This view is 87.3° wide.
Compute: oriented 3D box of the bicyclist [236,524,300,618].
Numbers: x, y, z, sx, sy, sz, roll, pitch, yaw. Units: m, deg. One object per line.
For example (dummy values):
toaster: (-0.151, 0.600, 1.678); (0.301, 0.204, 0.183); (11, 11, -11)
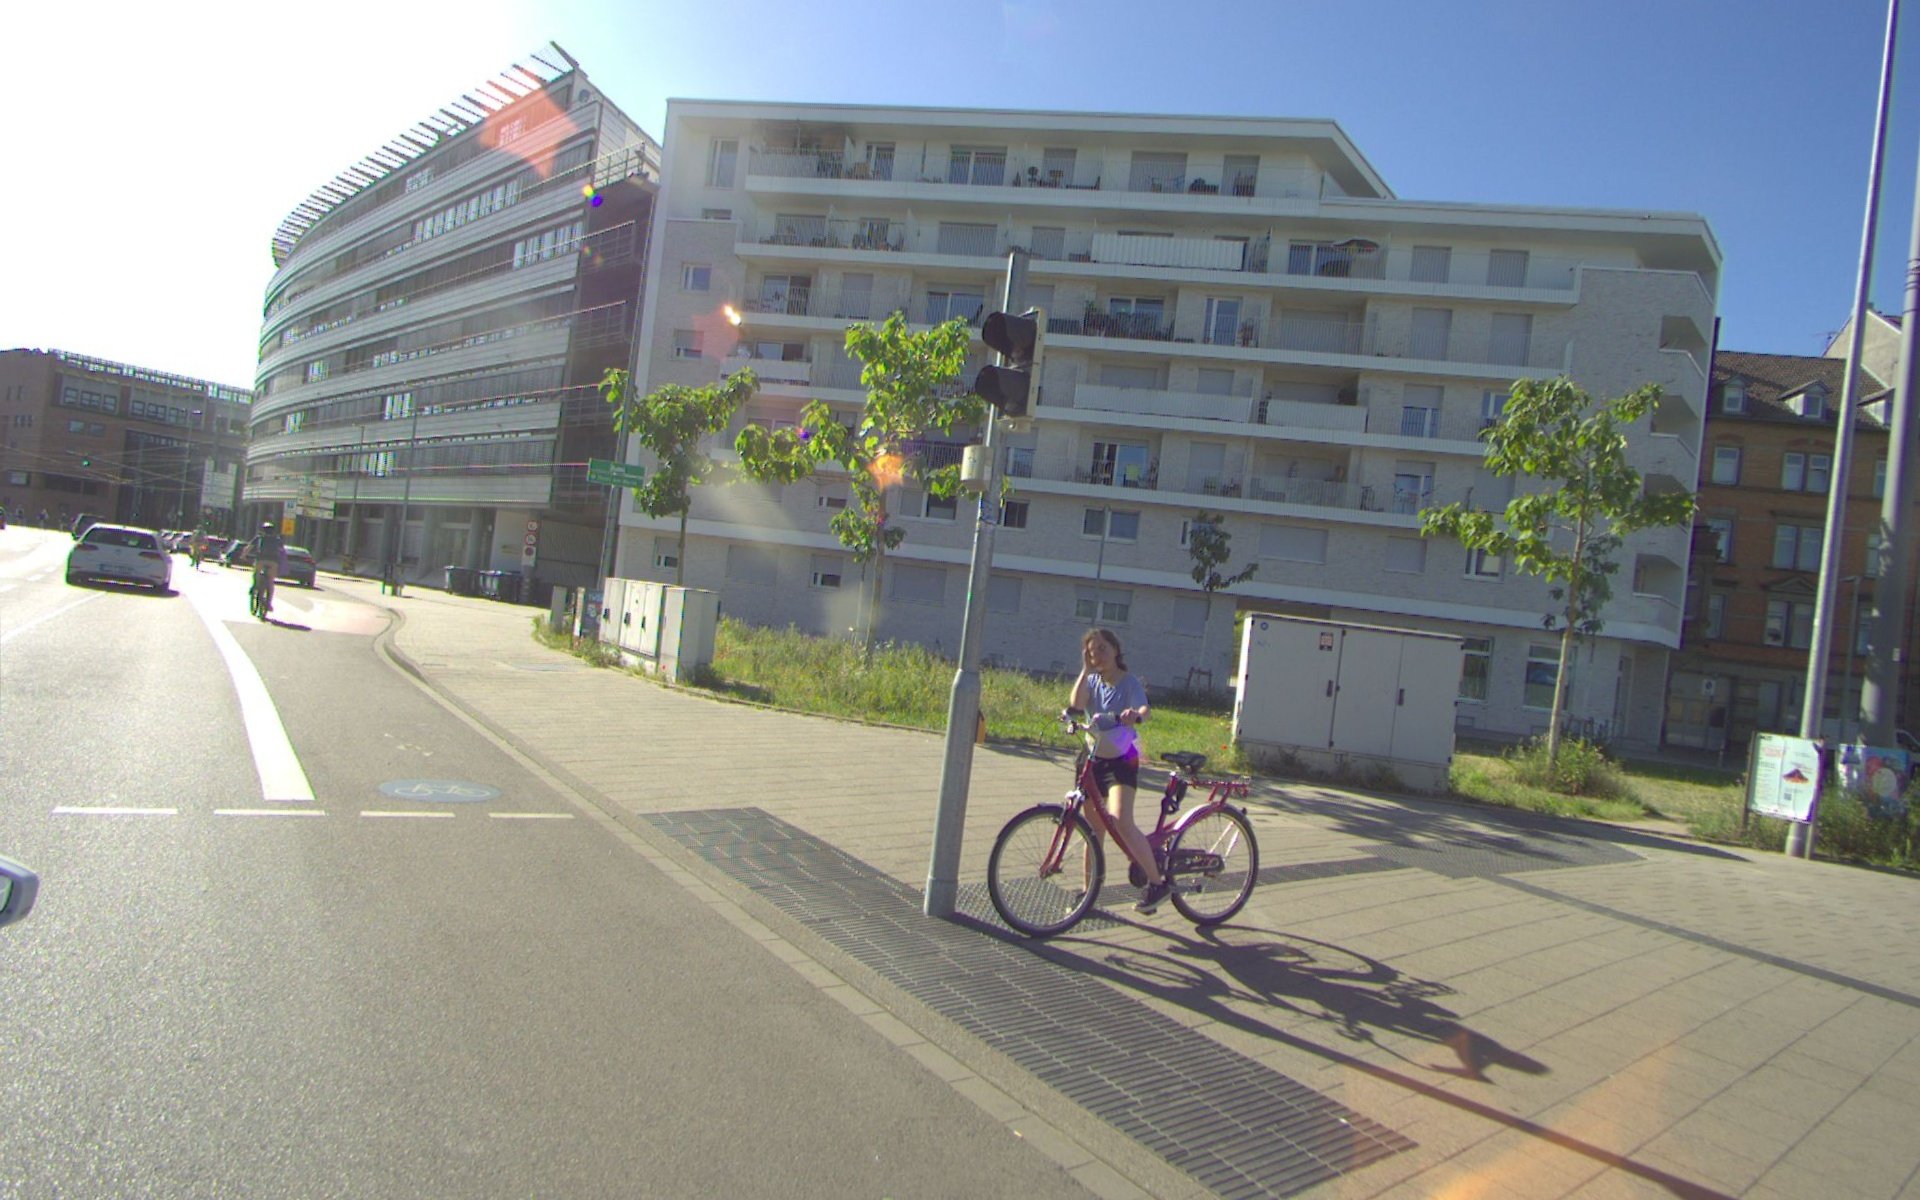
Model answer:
bicyclist: (-13.705, -0.570, 19.919); (0.803, 1.712, 1.041); (9, -2, -37)

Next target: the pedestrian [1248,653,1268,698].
pedestrian: (11.362, 2.867, 38.378); (0.513, 1.667, 0.471); (6, -1, 14)

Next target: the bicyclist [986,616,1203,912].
bicyclist: (0.709, 0.846, 5.358); (0.817, 1.421, 0.585); (6, 1, -29)

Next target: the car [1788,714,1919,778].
car: (39.922, 6.469, 44.475); (4.553, 2.137, 2.002); (7, -1, 11)

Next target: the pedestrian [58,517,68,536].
pedestrian: (-85.099, -6.981, 95.444); (0.483, 1.676, 0.479); (6, -1, 30)

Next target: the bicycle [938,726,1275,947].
bicycle: (0.826, 1.263, 5.559); (1.688, 0.966, 0.692); (6, 0, -29)

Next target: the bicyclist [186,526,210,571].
bicyclist: (-31.983, -2.168, 42.232); (0.646, 1.774, 1.034); (7, 0, -38)

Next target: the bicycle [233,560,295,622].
bicycle: (-13.868, -0.189, 20.023); (0.822, 1.048, 1.873); (9, -3, -37)

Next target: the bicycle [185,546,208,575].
bicycle: (-31.870, -1.663, 42.010); (0.646, 1.123, 1.740); (7, -2, -38)

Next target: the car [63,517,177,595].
car: (-19.754, -1.049, 23.777); (1.767, 1.418, 4.248); (11, -4, -39)

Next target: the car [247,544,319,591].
car: (-27.579, -1.360, 40.937); (1.716, 1.542, 4.347); (8, -2, -42)

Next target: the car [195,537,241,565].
car: (-45.654, -3.026, 61.845); (1.716, 1.412, 4.732); (8, -2, -42)

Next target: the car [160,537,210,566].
car: (-56.012, -3.526, 72.678); (4.080, 1.601, 1.906); (6, -3, 41)

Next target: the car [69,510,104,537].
car: (-66.226, -5.808, 76.251); (1.778, 1.722, 4.089); (10, -3, -42)

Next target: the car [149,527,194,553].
car: (-60.141, -4.578, 76.691); (4.081, 1.558, 1.905); (6, -3, 42)

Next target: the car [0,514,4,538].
car: (-58.683, -4.551, 60.338); (1.721, 1.466, 4.468); (8, -2, -42)

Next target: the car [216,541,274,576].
car: (-37.592, -2.221, 52.816); (1.718, 1.438, 4.580); (10, -3, -43)

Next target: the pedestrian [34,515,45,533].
pedestrian: (-85.451, -7.051, 93.376); (0.407, 1.597, 0.479); (6, -1, 30)
